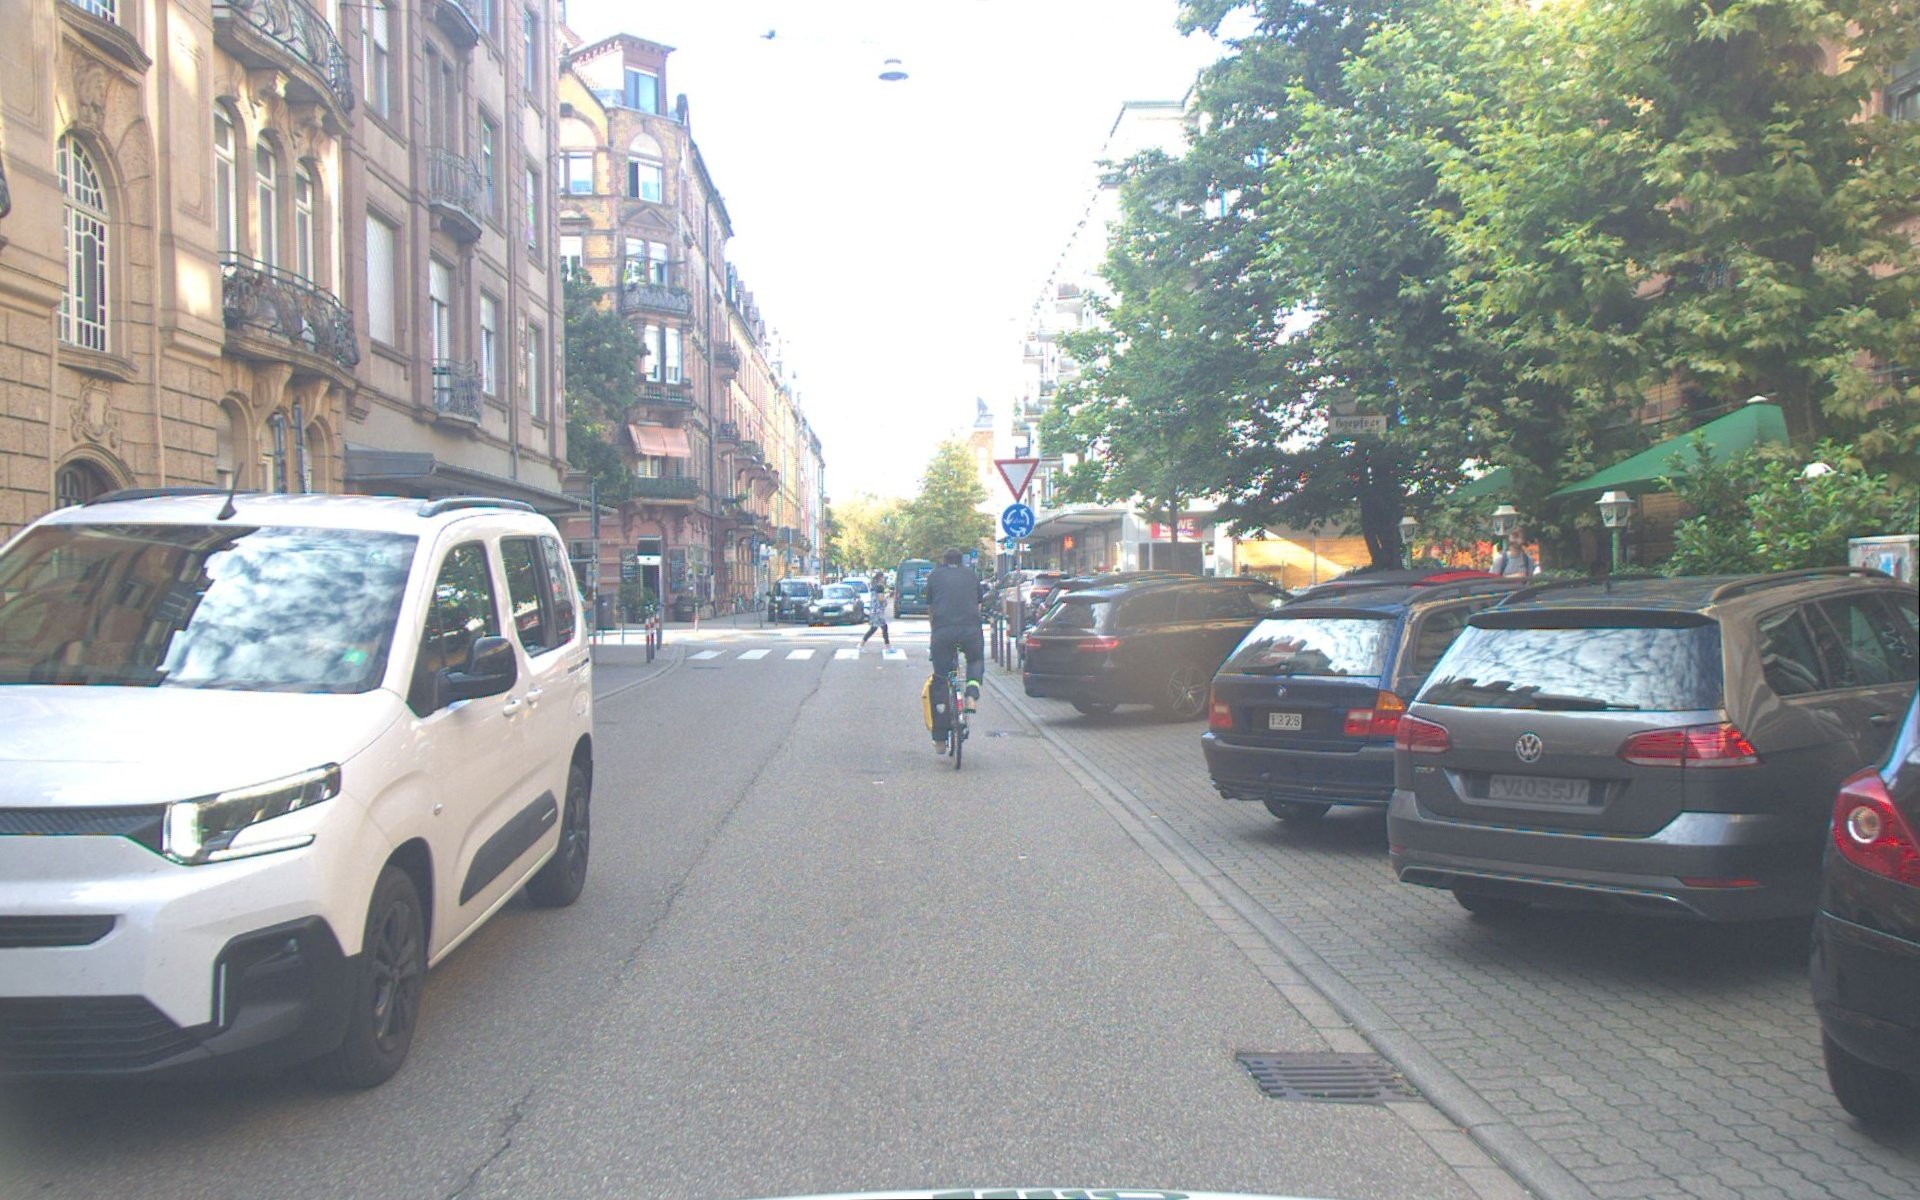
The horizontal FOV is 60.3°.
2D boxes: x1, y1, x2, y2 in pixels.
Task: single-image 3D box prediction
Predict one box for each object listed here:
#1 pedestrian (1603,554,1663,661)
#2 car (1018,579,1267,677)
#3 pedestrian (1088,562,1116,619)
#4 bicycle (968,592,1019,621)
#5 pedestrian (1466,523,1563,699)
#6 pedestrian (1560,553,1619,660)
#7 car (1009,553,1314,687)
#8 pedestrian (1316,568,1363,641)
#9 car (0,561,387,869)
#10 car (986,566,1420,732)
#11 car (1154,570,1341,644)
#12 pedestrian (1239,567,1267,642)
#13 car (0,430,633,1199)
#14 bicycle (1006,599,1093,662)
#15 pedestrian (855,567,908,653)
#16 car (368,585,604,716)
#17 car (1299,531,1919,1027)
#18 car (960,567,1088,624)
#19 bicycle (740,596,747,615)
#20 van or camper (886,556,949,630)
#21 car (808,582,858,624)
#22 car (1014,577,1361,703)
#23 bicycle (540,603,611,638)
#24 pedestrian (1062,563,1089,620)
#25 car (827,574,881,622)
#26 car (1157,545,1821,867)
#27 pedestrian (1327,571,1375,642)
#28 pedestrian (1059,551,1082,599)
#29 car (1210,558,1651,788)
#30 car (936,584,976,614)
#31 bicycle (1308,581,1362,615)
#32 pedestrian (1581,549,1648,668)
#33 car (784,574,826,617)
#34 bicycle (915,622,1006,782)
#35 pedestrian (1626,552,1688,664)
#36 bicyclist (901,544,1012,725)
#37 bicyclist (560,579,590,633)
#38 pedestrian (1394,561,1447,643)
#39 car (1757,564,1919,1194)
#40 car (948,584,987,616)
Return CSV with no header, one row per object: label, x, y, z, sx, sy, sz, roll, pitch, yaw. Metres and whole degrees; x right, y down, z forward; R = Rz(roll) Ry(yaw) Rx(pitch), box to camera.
pedestrian,10.236,0.110,25.168,0.616,1.597,0.569,-1,0,-7
car,3.068,0.418,27.606,3.891,1.482,1.751,-1,1,-31
pedestrian,4.745,-0.307,55.252,0.851,1.883,0.613,-1,0,2
bicycle,1.292,0.240,64.727,1.959,1.063,0.532,-1,0,0
pedestrian,6.196,0.120,18.500,0.822,1.911,0.723,-1,0,1
pedestrian,9.550,0.095,25.094,0.616,1.597,0.569,-1,0,-7
car,3.070,0.247,24.971,4.294,1.673,1.804,-4,2,-29
pedestrian,7.577,0.086,33.031,0.742,1.417,0.548,-1,0,-7
car,-5.341,0.595,10.670,1.954,1.572,4.424,-1,0,-3
car,2.841,0.461,18.977,4.706,1.482,2.035,-4,2,-31
car,7.890,0.172,45.641,4.733,1.754,2.042,-3,2,-2
pedestrian,6.981,0.104,39.449,0.615,1.769,0.776,-1,0,10
car,-2.521,0.511,6.130,1.879,1.860,4.436,0,0,-2
bicycle,1.578,0.548,29.536,0.542,1.058,1.837,-5,1,-31
pedestrian,-1.674,0.208,35.165,0.768,1.811,0.790,-1,1,36
car,-5.864,0.551,20.999,1.954,1.445,4.242,-1,1,-3
car,3.678,0.524,7.685,4.433,1.502,1.860,-5,3,-43
car,1.925,-0.137,50.897,1.977,1.646,3.951,-1,1,-35
bicycle,-11.043,0.263,84.328,0.353,0.963,1.713,0,0,-7
van or camper,-1.913,-0.321,72.558,2.482,3.090,4.454,-1,1,-5
car,-4.561,0.121,59.675,1.715,1.461,4.208,0,0,-4
car,3.087,0.477,22.304,4.350,1.482,1.925,-1,1,-28
bicycle,-12.305,0.658,52.938,2.152,1.111,0.674,0,0,-20
pedestrian,3.867,-0.286,55.294,0.851,1.883,0.613,-1,0,2
car,-4.326,-0.110,68.234,1.903,1.751,4.850,-2,2,-1
car,3.510,0.500,10.582,4.423,1.489,1.854,-4,2,-38
pedestrian,7.664,0.132,32.451,0.742,1.366,0.596,-1,0,-7
pedestrian,3.878,-0.876,58.042,0.729,1.657,0.813,-1,0,8
car,3.912,0.484,13.485,3.687,1.511,1.715,-3,2,-41
car,-0.239,-0.065,86.715,1.953,1.512,3.999,-2,1,-2
bicycle,12.004,-0.071,53.008,1.652,1.068,0.456,-1,0,38
pedestrian,9.535,0.120,24.113,0.634,1.670,0.563,-3,0,-7
car,-7.615,-0.235,81.574,1.954,2.049,3.996,-2,1,-5
bicycle,-0.027,0.811,14.145,0.652,1.198,2.496,0,0,-3
pedestrian,10.178,0.110,24.170,0.616,1.597,0.569,-1,0,-7
bicyclist,-0.038,0.291,14.200,0.915,1.510,0.747,0,0,-3
bicyclist,-12.327,0.188,52.926,0.841,1.694,0.786,0,0,-19
pedestrian,8.247,0.029,29.643,0.659,1.431,0.757,-1,0,-7
car,4.043,0.597,4.968,3.965,1.484,1.722,-3,2,-44
car,0.302,-0.016,75.257,1.612,1.347,3.576,-4,1,-1
